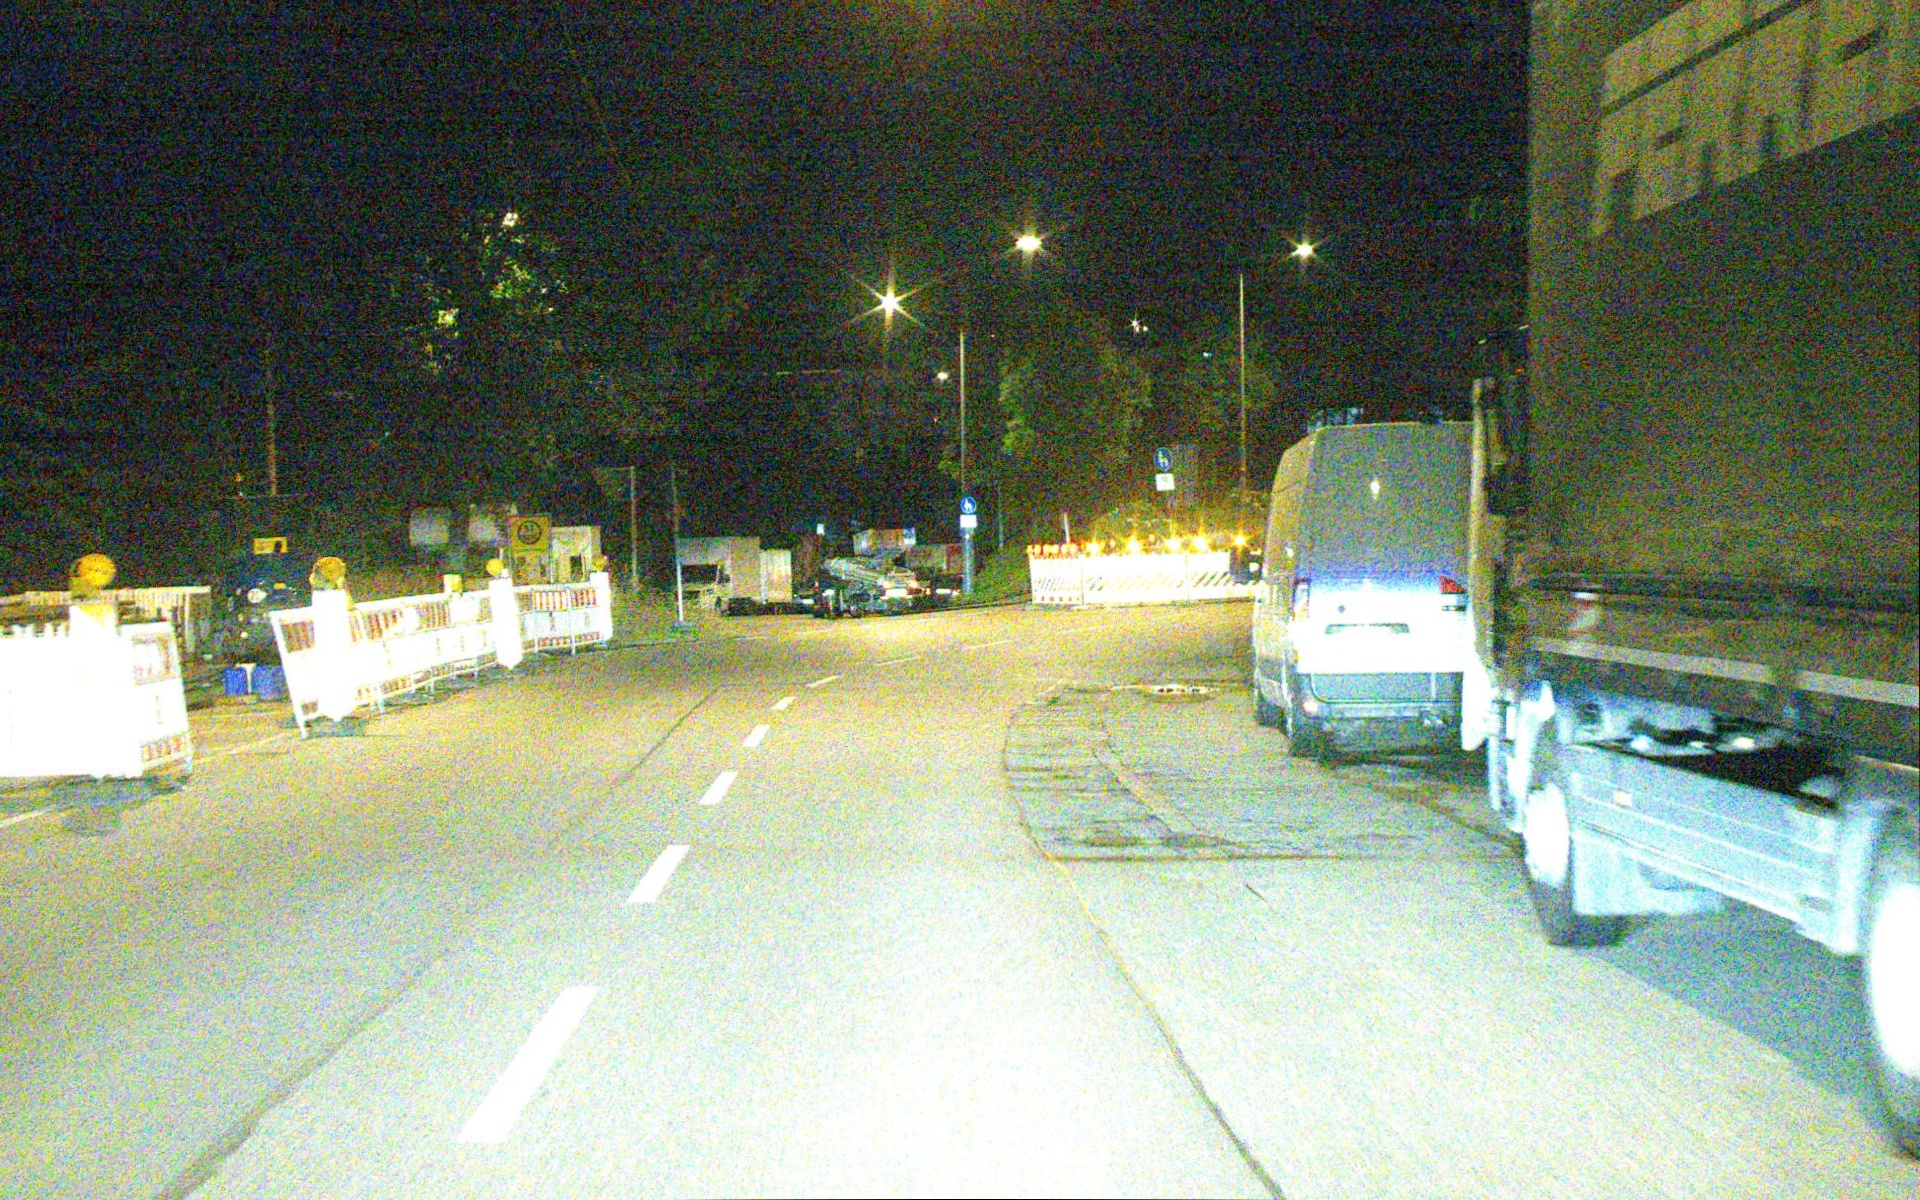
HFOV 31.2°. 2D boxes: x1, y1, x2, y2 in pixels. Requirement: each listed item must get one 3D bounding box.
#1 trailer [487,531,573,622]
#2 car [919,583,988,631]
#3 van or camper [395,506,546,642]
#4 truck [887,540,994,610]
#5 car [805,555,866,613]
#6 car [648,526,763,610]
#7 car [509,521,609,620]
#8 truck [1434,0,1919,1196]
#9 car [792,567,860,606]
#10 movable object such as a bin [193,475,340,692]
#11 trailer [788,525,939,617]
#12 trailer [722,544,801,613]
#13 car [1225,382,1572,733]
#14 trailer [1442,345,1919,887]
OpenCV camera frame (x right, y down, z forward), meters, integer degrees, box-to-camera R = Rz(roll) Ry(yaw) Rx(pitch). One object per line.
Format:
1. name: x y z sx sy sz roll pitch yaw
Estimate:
1. trailer: -12.493 -0.690 100.058 1.993 2.519 3.568 -3 1 -1
2. car: -0.230 0.276 130.976 1.722 1.815 3.997 0 0 14
3. van or camper: -11.912 -0.624 84.263 2.519 3.084 7.445 -2 0 0
4. truck: -0.924 -1.305 171.647 1.996 3.392 8.969 1 1 22
5. car: -3.697 -0.460 102.336 1.720 1.655 4.000 0 0 -1
6. car: -10.115 -1.290 137.389 2.520 3.160 7.134 -2 0 12
7. car: -12.631 -0.911 108.711 2.519 2.917 7.202 -2 0 -3
8. truck: 3.838 -0.564 10.230 3.324 3.855 9.328 0 1 -2
9. car: -6.026 -0.607 154.836 1.995 1.694 4.203 0 0 14
10. movable object such as a bin: -9.326 -0.260 46.451 1.570 2.724 3.702 -4 2 -8
11. trailer: -2.503 -0.716 87.377 1.559 2.153 5.222 -2 0 -29
12. trailer: -8.277 -0.914 143.868 1.995 2.803 4.700 -1 1 13
13. car: 3.379 -0.374 27.786 2.108 2.507 6.371 0 1 1
14. trailer: 3.771 0.021 18.157 1.632 2.465 5.028 0 1 -1
